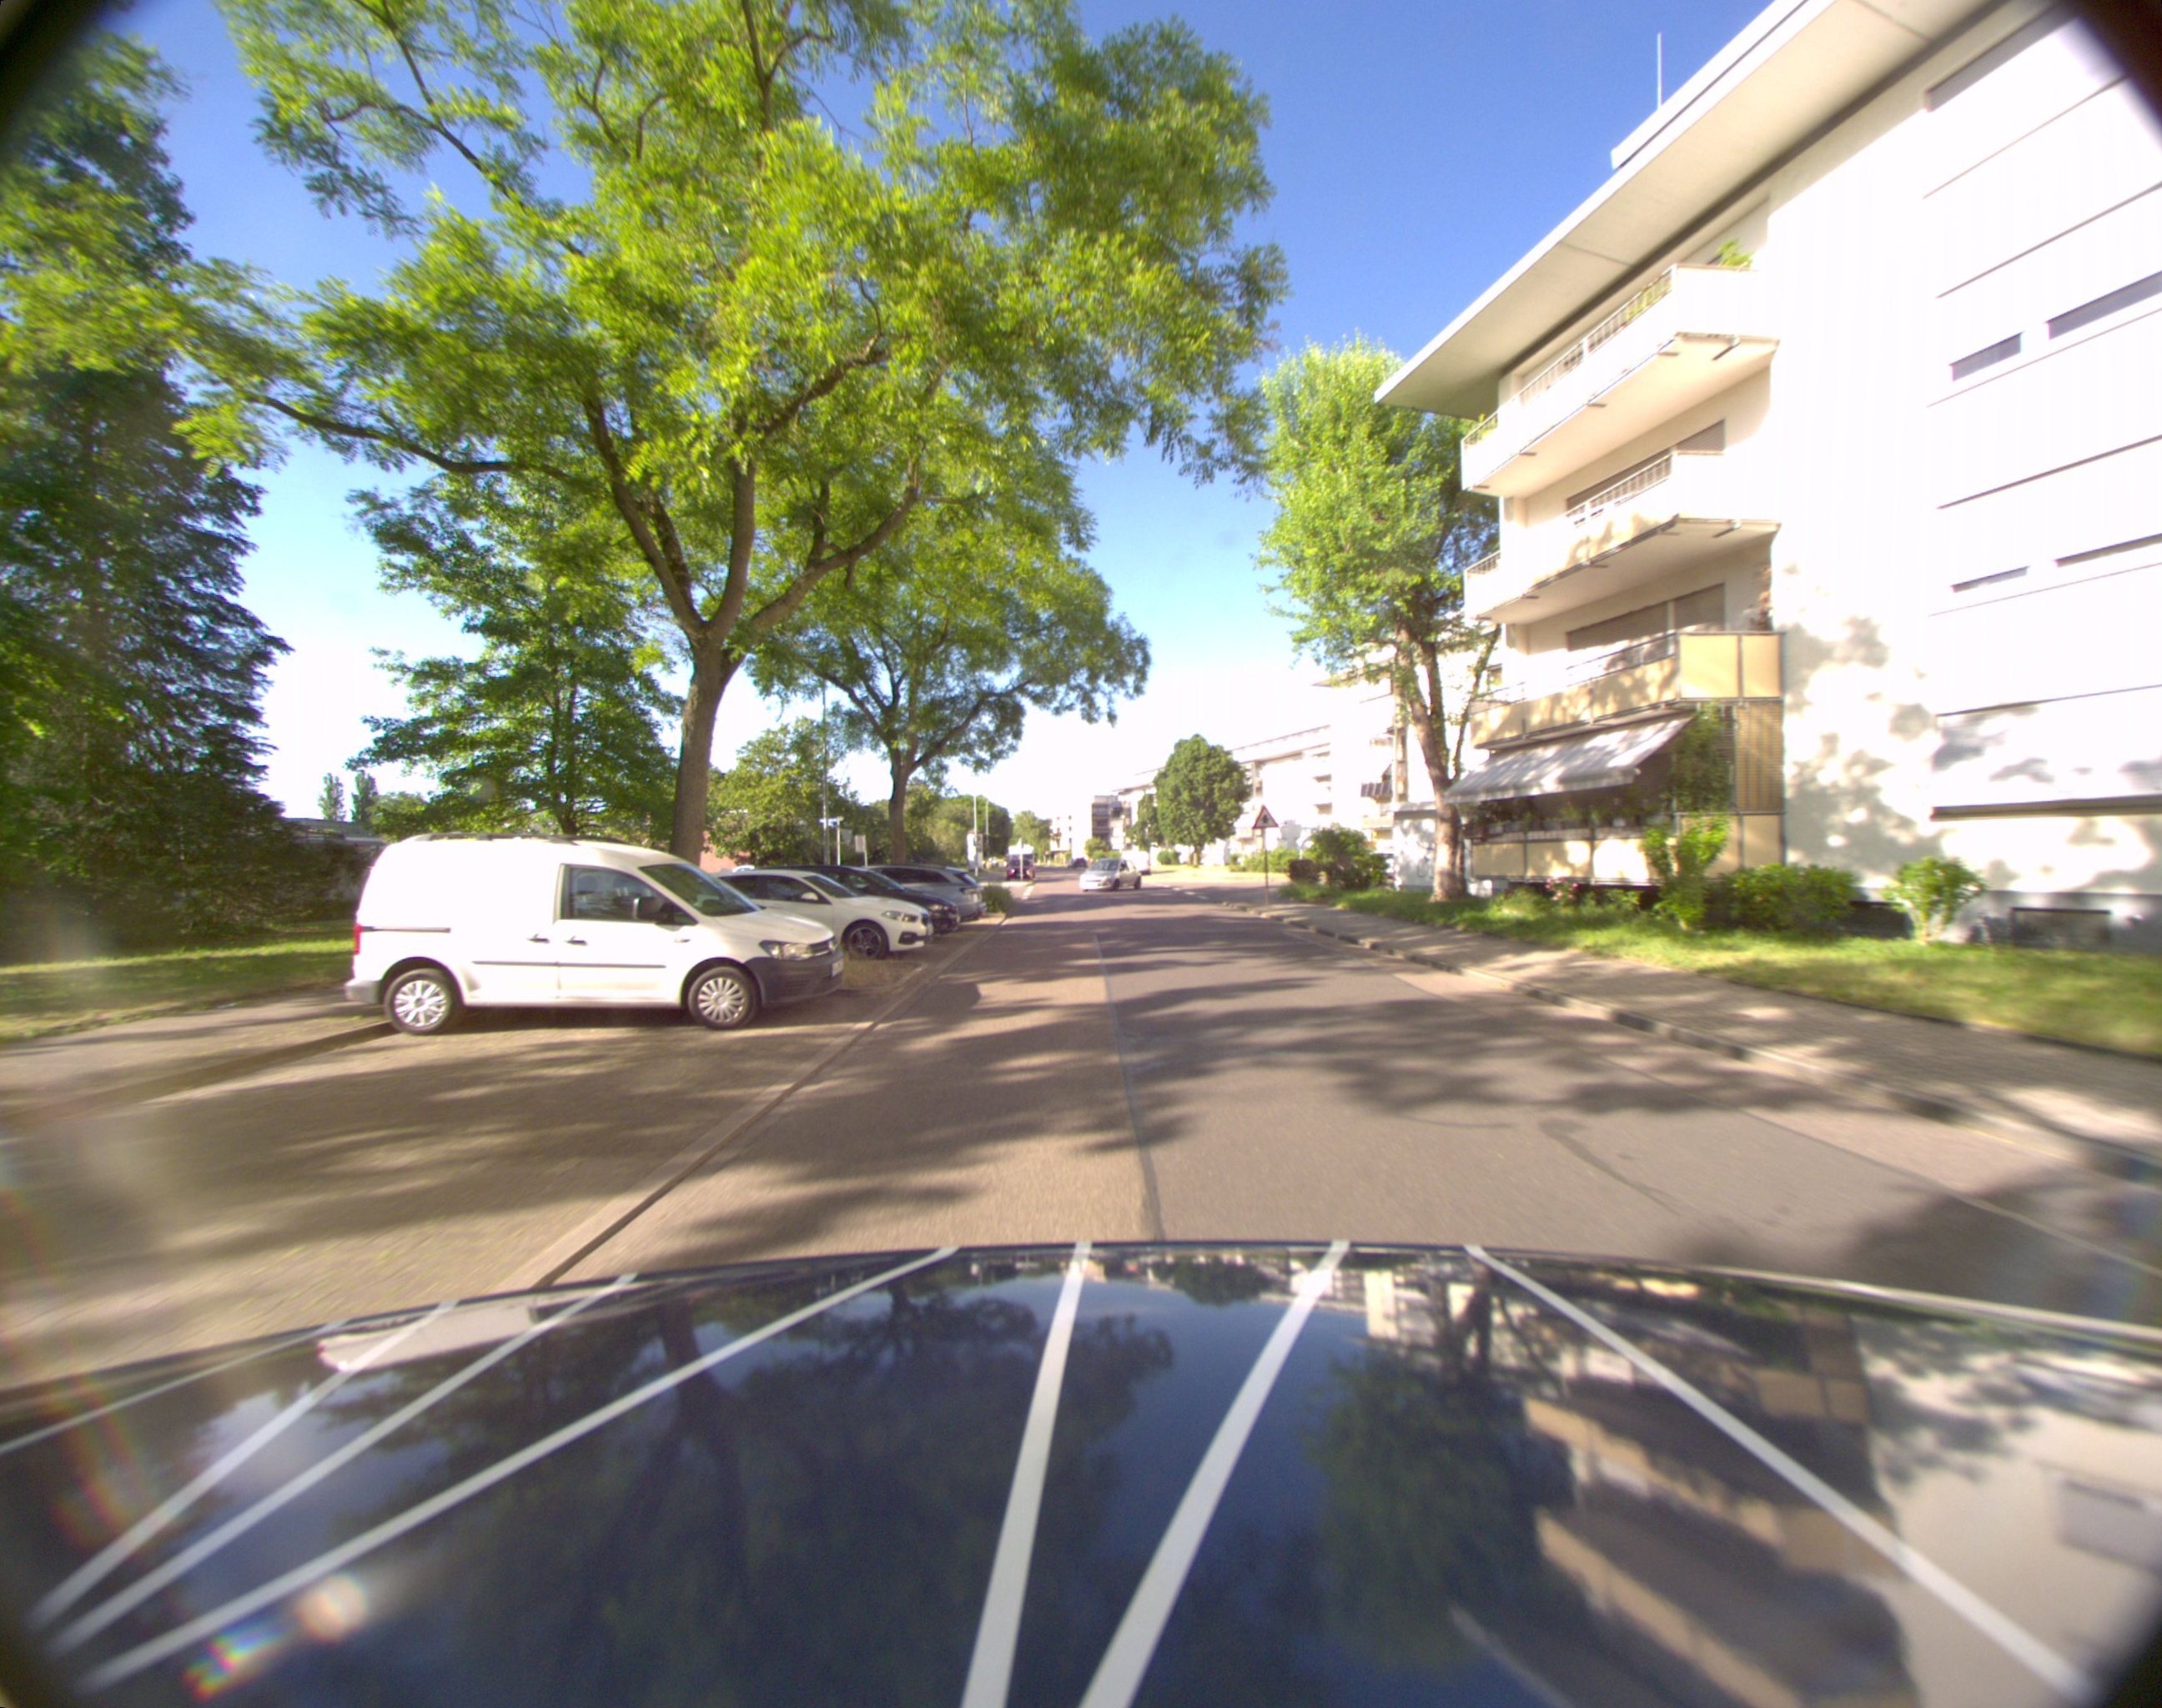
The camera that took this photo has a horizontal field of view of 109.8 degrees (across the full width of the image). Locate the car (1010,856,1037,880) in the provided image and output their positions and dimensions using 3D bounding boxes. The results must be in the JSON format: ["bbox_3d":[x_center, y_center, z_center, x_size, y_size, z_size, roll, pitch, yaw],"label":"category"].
[{"bbox_3d":[-4.084,0.985,54.393,1.773,1.606,4.051,1,0,-3],"label":"car"}]

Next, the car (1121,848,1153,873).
[{"bbox_3d":[4.445,0.484,60.749,2.007,1.837,4.615,-3,0,-1],"label":"car"}]

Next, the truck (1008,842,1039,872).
[{"bbox_3d":[-5.547,0.273,74.312,2.763,2.785,8.264,1,0,-2],"label":"truck"}]

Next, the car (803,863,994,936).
[{"bbox_3d":[-4.183,1.029,17.840,4.052,1.544,1.745,1,0,-1],"label":"car"}]

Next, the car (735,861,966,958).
[{"bbox_3d":[-4.482,1.051,15.271,4.052,1.649,1.745,-2,1,-1],"label":"car"}]

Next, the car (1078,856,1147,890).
[{"bbox_3d":[1.508,0.836,34.921,1.593,1.417,4.178,2,1,26],"label":"car"}]

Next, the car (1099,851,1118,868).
[{"bbox_3d":[2.854,0.574,79.617,1.694,1.661,4.051,-2,0,-2],"label":"car"}]

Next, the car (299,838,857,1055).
[{"bbox_3d":[-4.761,0.814,7.774,4.445,1.910,1.744,0,1,-4],"label":"car"}]

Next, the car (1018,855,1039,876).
[{"bbox_3d":[-4.395,0.934,64.004,1.694,1.618,4.051,1,0,-3],"label":"car"}]

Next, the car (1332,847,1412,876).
[{"bbox_3d":[15.398,0.413,40.326,3.725,1.417,1.534,-1,0,7],"label":"car"}]

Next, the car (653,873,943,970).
[{"bbox_3d":[-4.517,1.068,12.592,4.149,1.400,1.745,1,0,-1],"label":"car"}]

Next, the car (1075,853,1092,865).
[{"bbox_3d":[0.357,0.714,108.418,1.795,1.535,4.049,-4,0,-7],"label":"car"}]
